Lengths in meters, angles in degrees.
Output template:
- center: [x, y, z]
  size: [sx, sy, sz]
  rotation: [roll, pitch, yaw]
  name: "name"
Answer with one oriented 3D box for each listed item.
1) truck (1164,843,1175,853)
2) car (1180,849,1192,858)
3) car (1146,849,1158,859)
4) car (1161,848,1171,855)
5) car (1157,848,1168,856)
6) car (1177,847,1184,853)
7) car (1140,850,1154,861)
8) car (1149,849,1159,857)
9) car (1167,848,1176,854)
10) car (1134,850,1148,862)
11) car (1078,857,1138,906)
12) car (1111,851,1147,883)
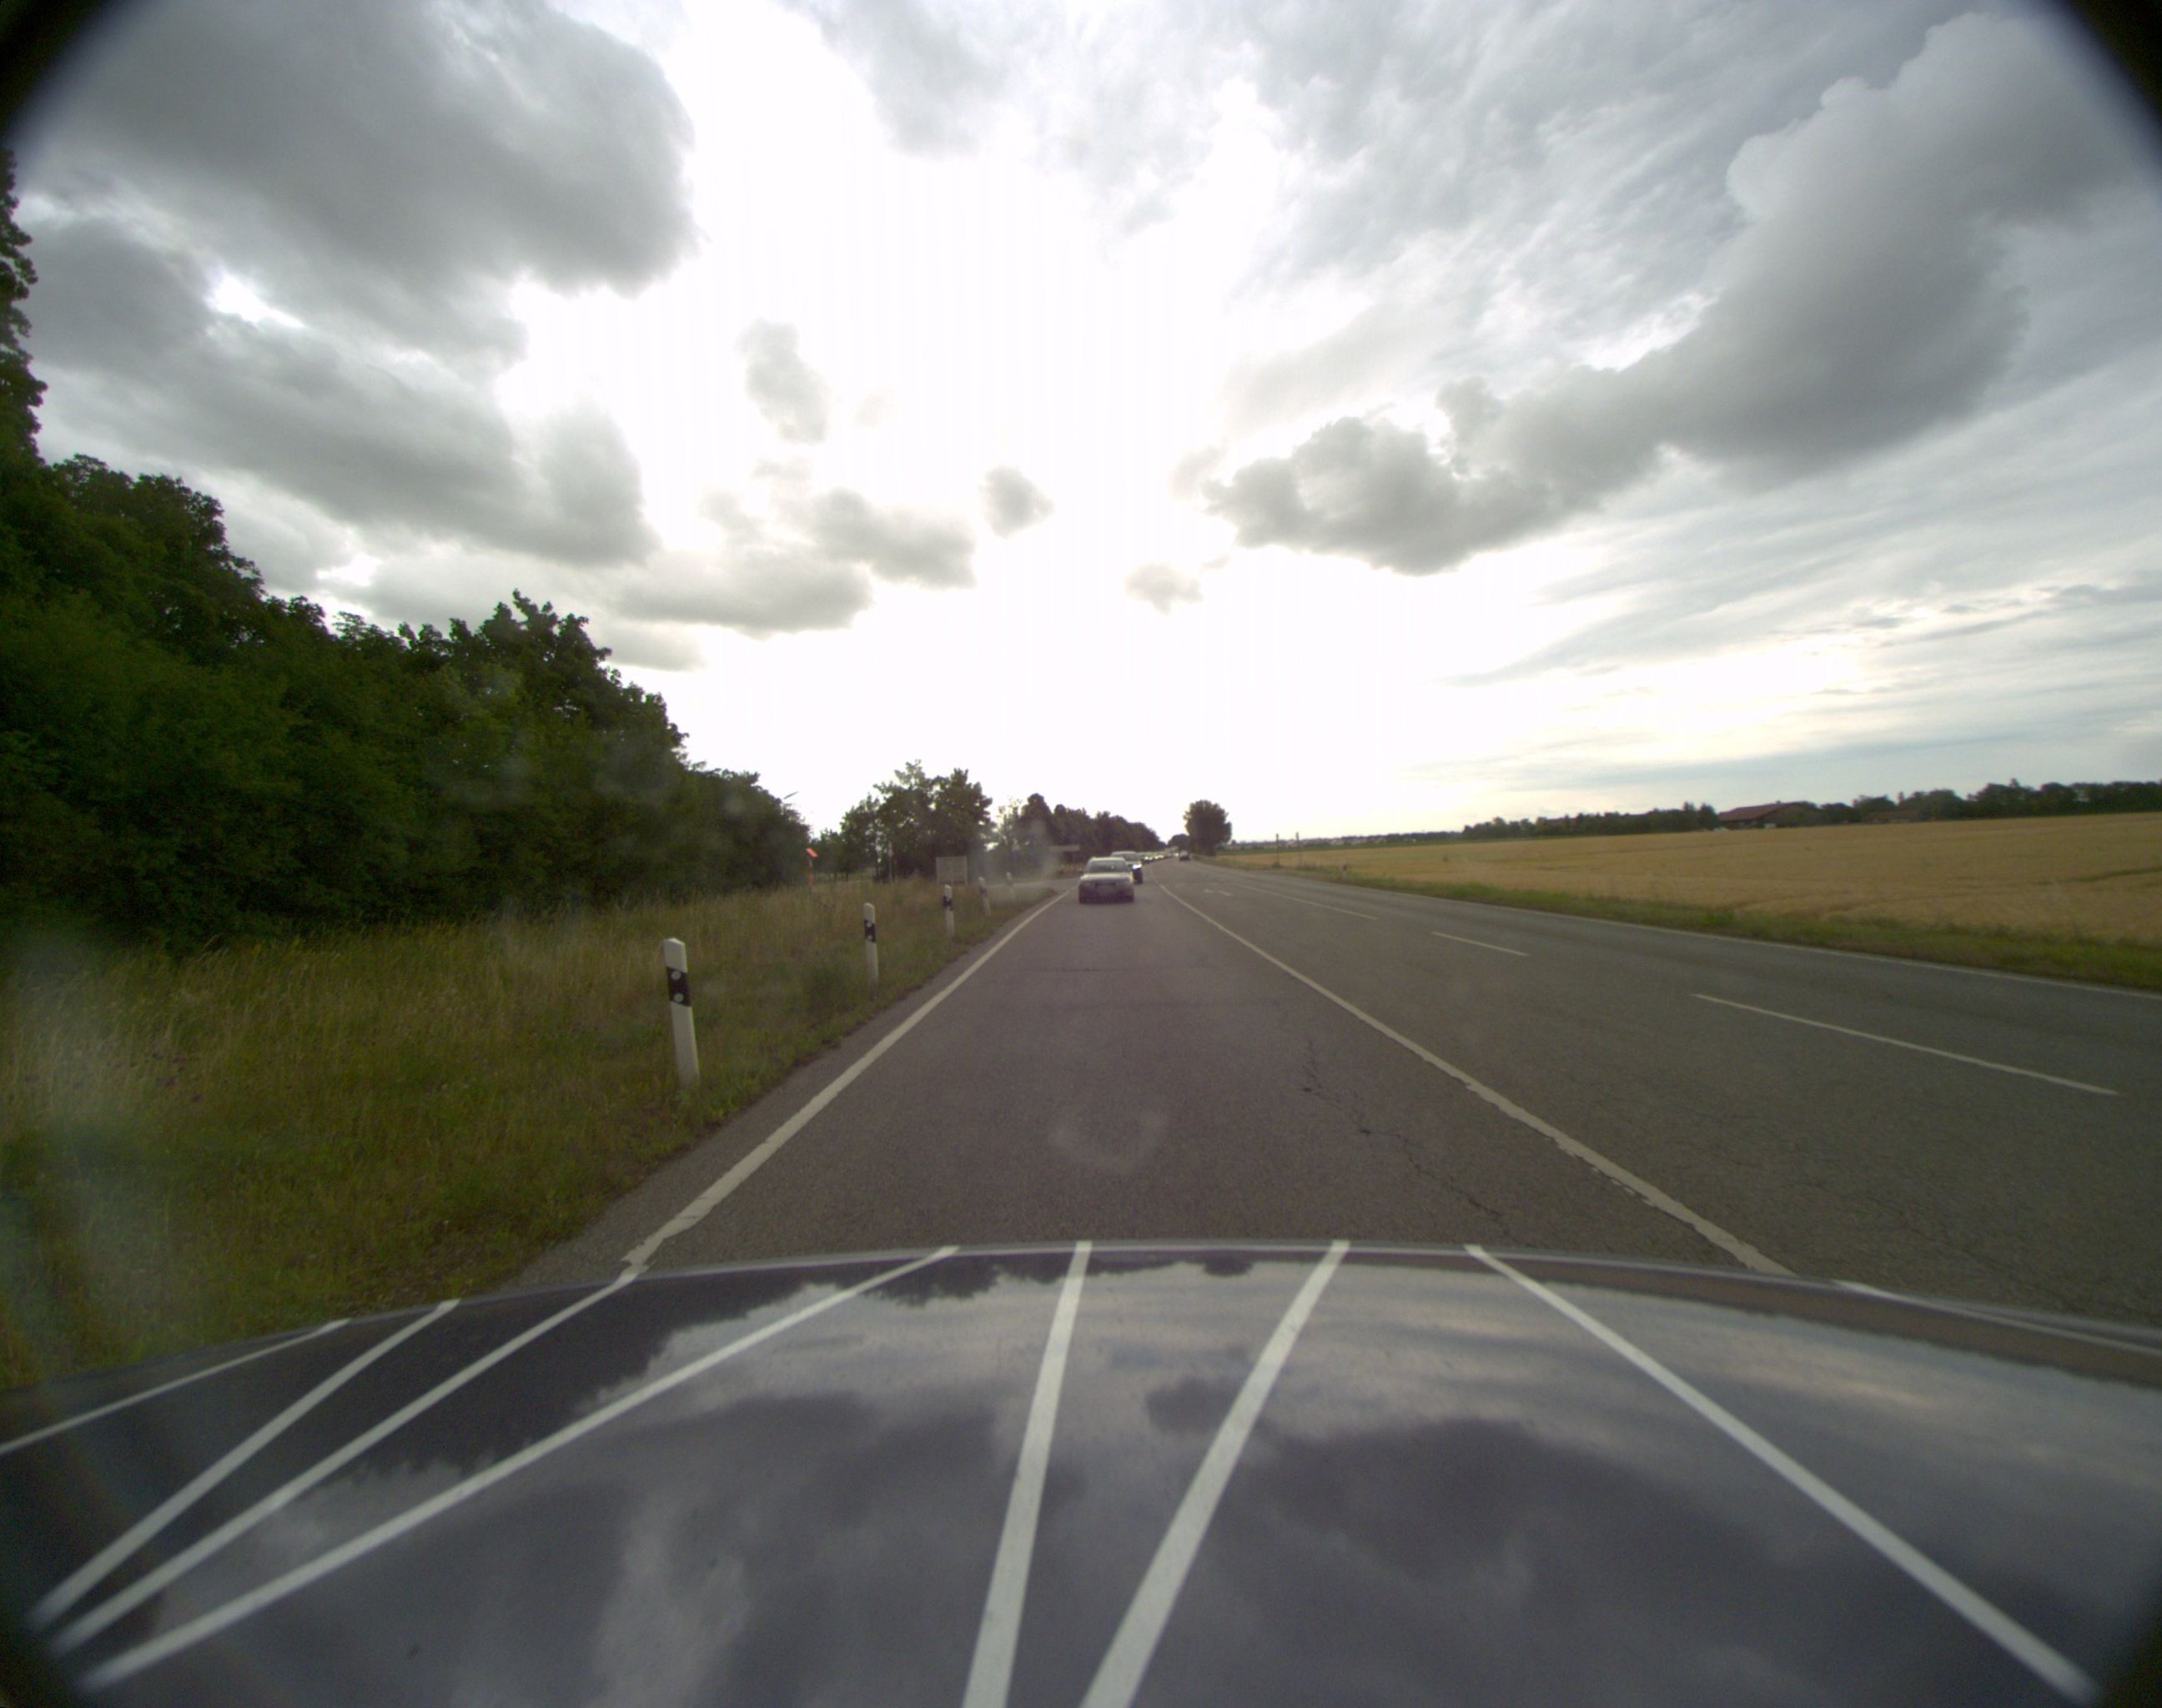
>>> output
- center: [25.869, -1.717, 221.196]
  size: [2.318, 2.749, 7.679]
  rotation: [-2, 0, 12]
  name: "truck"
- center: [18.016, -0.102, 129.919]
  size: [1.830, 1.402, 4.427]
  rotation: [-4, 0, 9]
  name: "car"
- center: [12.100, 0.005, 128.922]
  size: [1.793, 1.573, 4.189]
  rotation: [-2, 0, 7]
  name: "car"
- center: [19.838, -0.588, 176.937]
  size: [1.792, 1.573, 4.140]
  rotation: [-2, 0, 12]
  name: "car"
- center: [17.258, -0.353, 160.946]
  size: [1.792, 1.573, 4.140]
  rotation: [-2, 0, 11]
  name: "car"
- center: [29.844, -1.203, 227.356]
  size: [1.950, 1.684, 4.449]
  rotation: [-2, 0, 9]
  name: "car"
- center: [9.722, 0.179, 111.836]
  size: [1.793, 1.573, 4.189]
  rotation: [-2, 0, 7]
  name: "car"
- center: [14.292, -0.156, 148.430]
  size: [1.793, 1.573, 4.139]
  rotation: [-2, 0, 8]
  name: "car"
- center: [23.610, -0.683, 197.367]
  size: [1.792, 1.531, 4.140]
  rotation: [-2, 0, 13]
  name: "car"
- center: [8.079, 0.284, 101.878]
  size: [1.793, 1.573, 4.369]
  rotation: [-2, 0, 6]
  name: "car"
- center: [0.900, 0.844, 25.358]
  size: [1.793, 1.415, 4.368]
  rotation: [-2, 0, 2]
  name: "car"
- center: [2.527, 0.649, 41.039]
  size: [1.793, 1.573, 4.368]
  rotation: [-2, 0, 2]
  name: "car"
